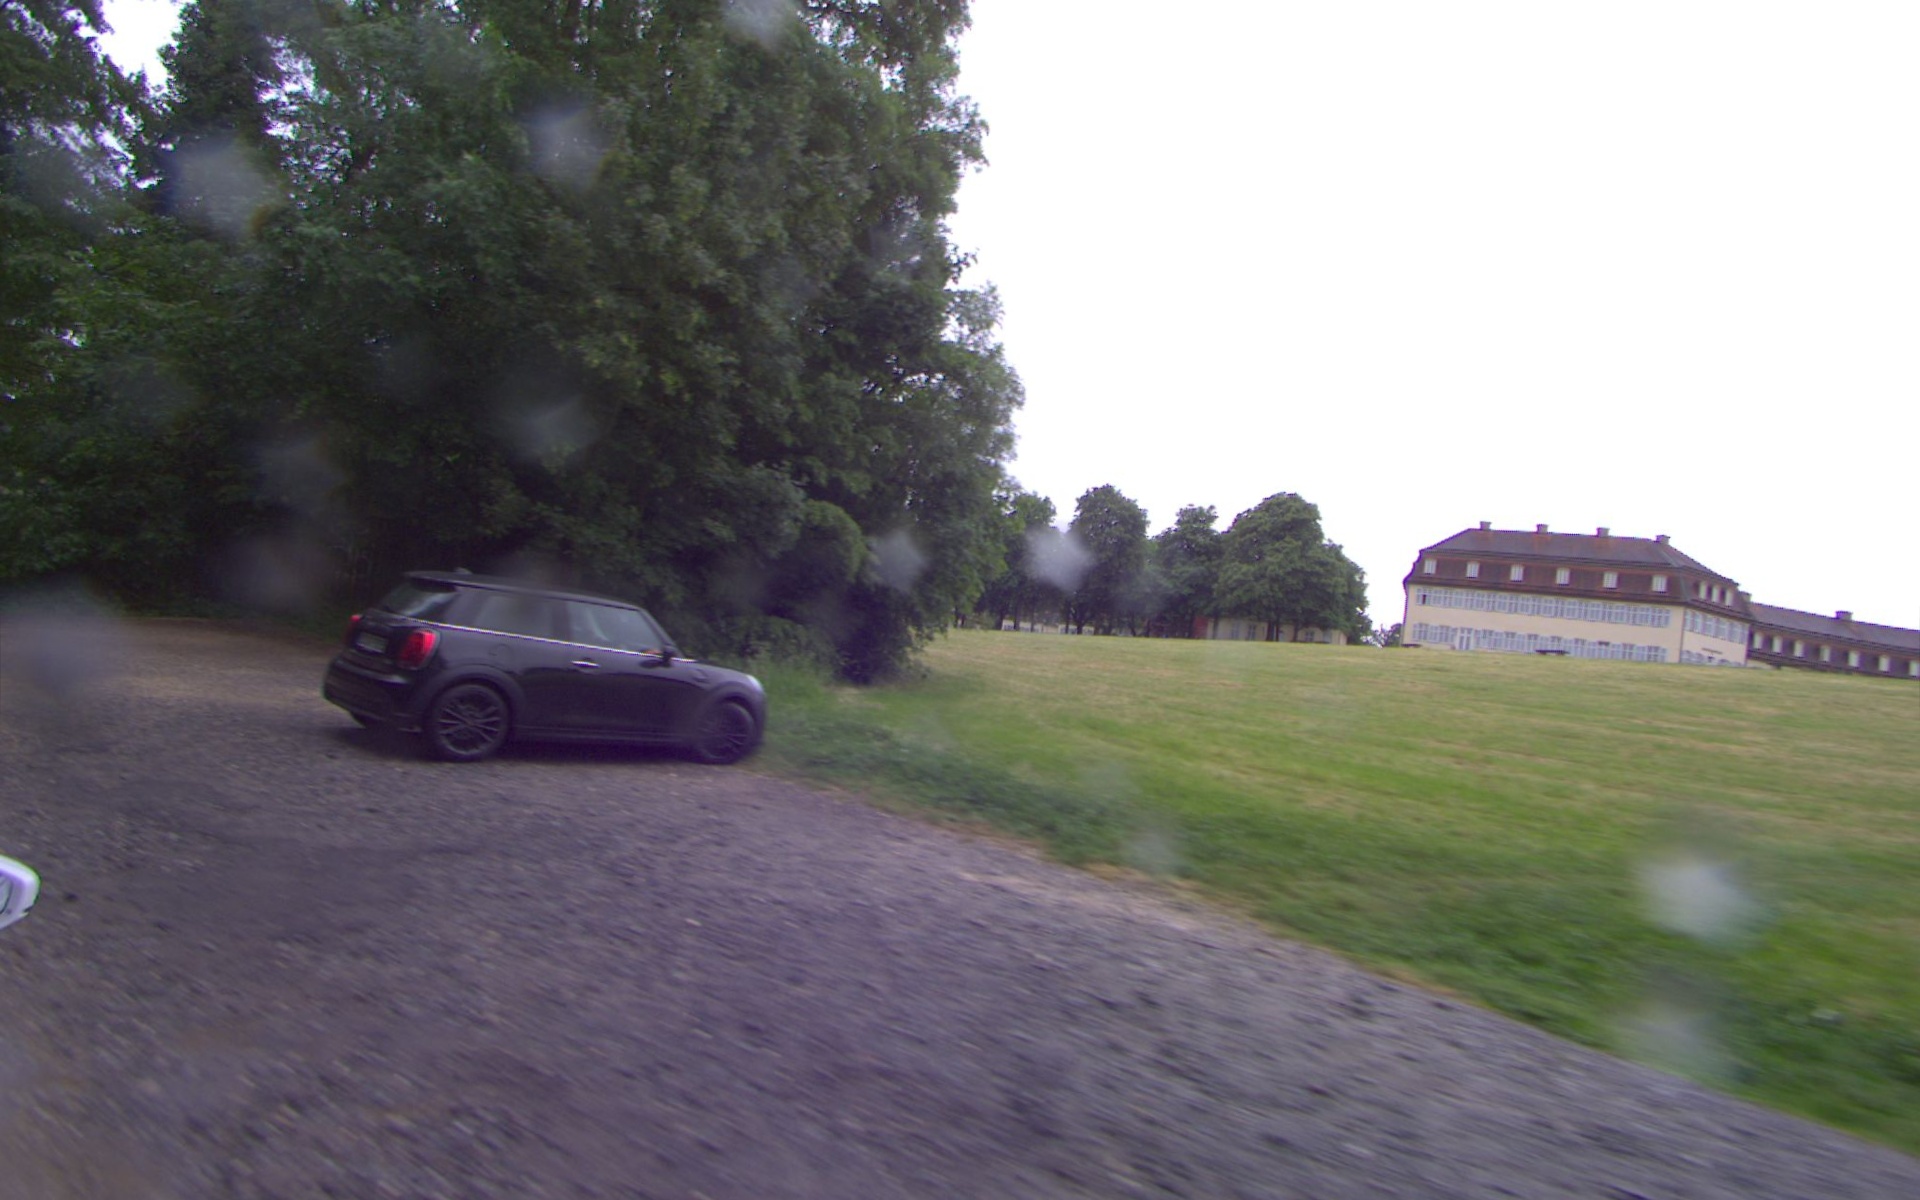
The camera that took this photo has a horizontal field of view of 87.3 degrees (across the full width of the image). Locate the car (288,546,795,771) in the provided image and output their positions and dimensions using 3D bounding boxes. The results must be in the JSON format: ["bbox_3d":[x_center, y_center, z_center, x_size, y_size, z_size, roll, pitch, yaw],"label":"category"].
[{"bbox_3d":[-3.496,0.625,8.996,1.681,1.450,3.713,6,-5,37],"label":"car"}]
